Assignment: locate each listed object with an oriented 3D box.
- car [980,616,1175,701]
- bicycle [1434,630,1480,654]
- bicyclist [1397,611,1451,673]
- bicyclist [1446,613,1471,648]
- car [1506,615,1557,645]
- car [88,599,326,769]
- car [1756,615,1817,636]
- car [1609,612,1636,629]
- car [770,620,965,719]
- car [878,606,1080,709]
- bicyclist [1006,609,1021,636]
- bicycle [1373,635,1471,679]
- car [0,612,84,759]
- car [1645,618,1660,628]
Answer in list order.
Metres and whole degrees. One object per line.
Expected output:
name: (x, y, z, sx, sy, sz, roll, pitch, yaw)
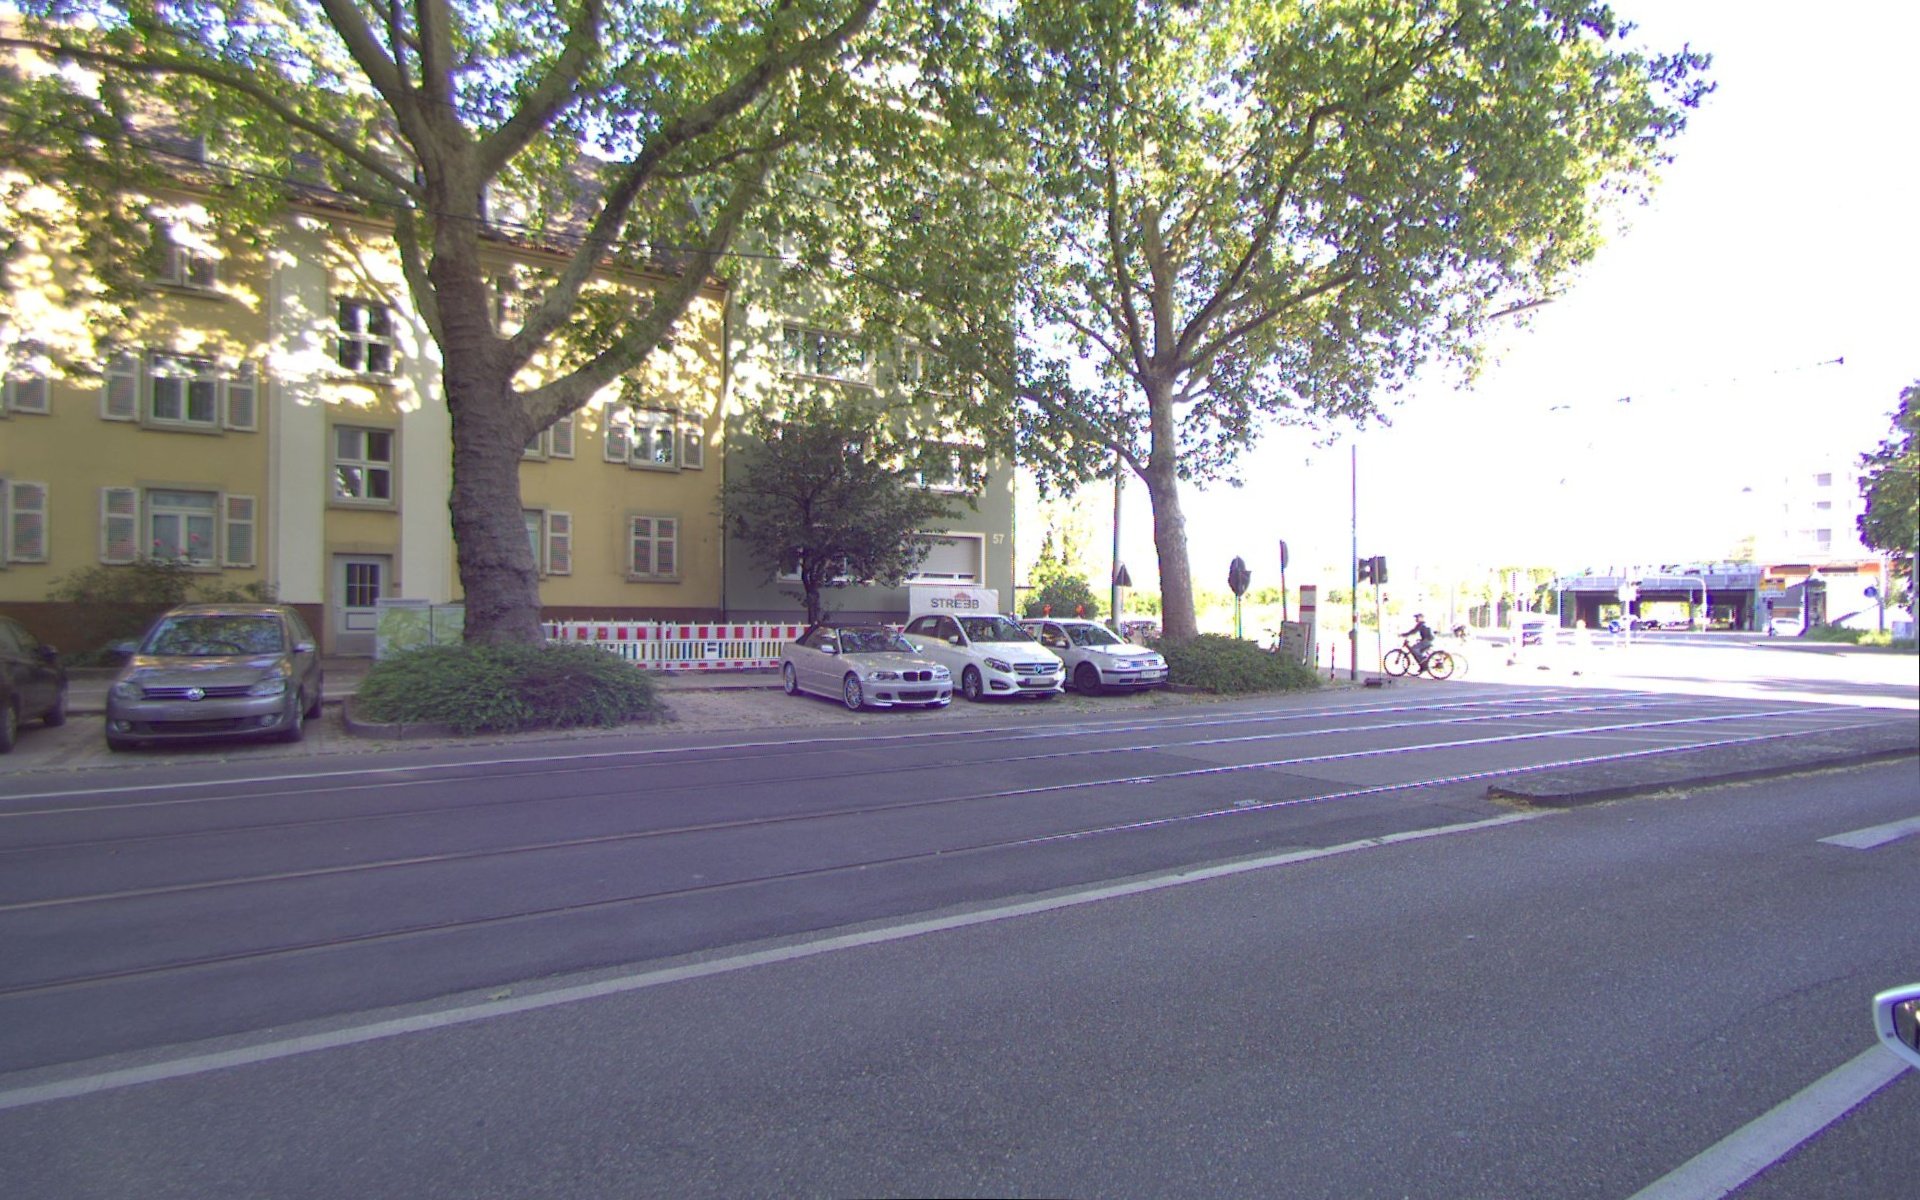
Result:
car: (2.292, 1.109, 20.825, 1.656, 1.448, 4.490, 1, 0, -30)
bicycle: (23.438, 1.965, 47.453, 0.584, 1.108, 2.049, 1, -1, -25)
bicyclist: (11.879, 1.064, 25.703, 1.099, 1.540, 0.918, 0, -1, 38)
bicyclist: (23.485, 1.430, 47.350, 0.640, 1.616, 0.858, 1, -1, -25)
car: (32.424, 1.680, 56.940, 1.803, 1.539, 3.876, 2, 1, 40)
car: (-9.045, 0.859, 12.427, 1.793, 1.627, 4.169, 1, 1, -29)
car: (73.935, 2.297, 89.882, 4.122, 1.829, 1.730, -1, -1, 37)
car: (71.803, 2.223, 108.771, 2.185, 1.847, 4.131, 0, -1, 37)
car: (-1.737, 1.094, 17.436, 1.708, 1.386, 4.219, 1, 0, -31)
car: (0.213, 0.993, 19.480, 1.777, 1.640, 4.587, 1, 1, -30)
bicyclist: (3.589, 1.506, 67.298, 0.911, 1.730, 0.876, 0, -1, 14)
bicycle: (11.818, 1.448, 25.754, 2.163, 1.047, 0.831, 0, -1, 38)
car: (-11.402, 0.880, 11.298, 1.723, 1.448, 3.545, 1, 0, -31)
car: (116.032, 3.871, 168.364, 1.967, 1.623, 4.234, 0, -1, 34)
